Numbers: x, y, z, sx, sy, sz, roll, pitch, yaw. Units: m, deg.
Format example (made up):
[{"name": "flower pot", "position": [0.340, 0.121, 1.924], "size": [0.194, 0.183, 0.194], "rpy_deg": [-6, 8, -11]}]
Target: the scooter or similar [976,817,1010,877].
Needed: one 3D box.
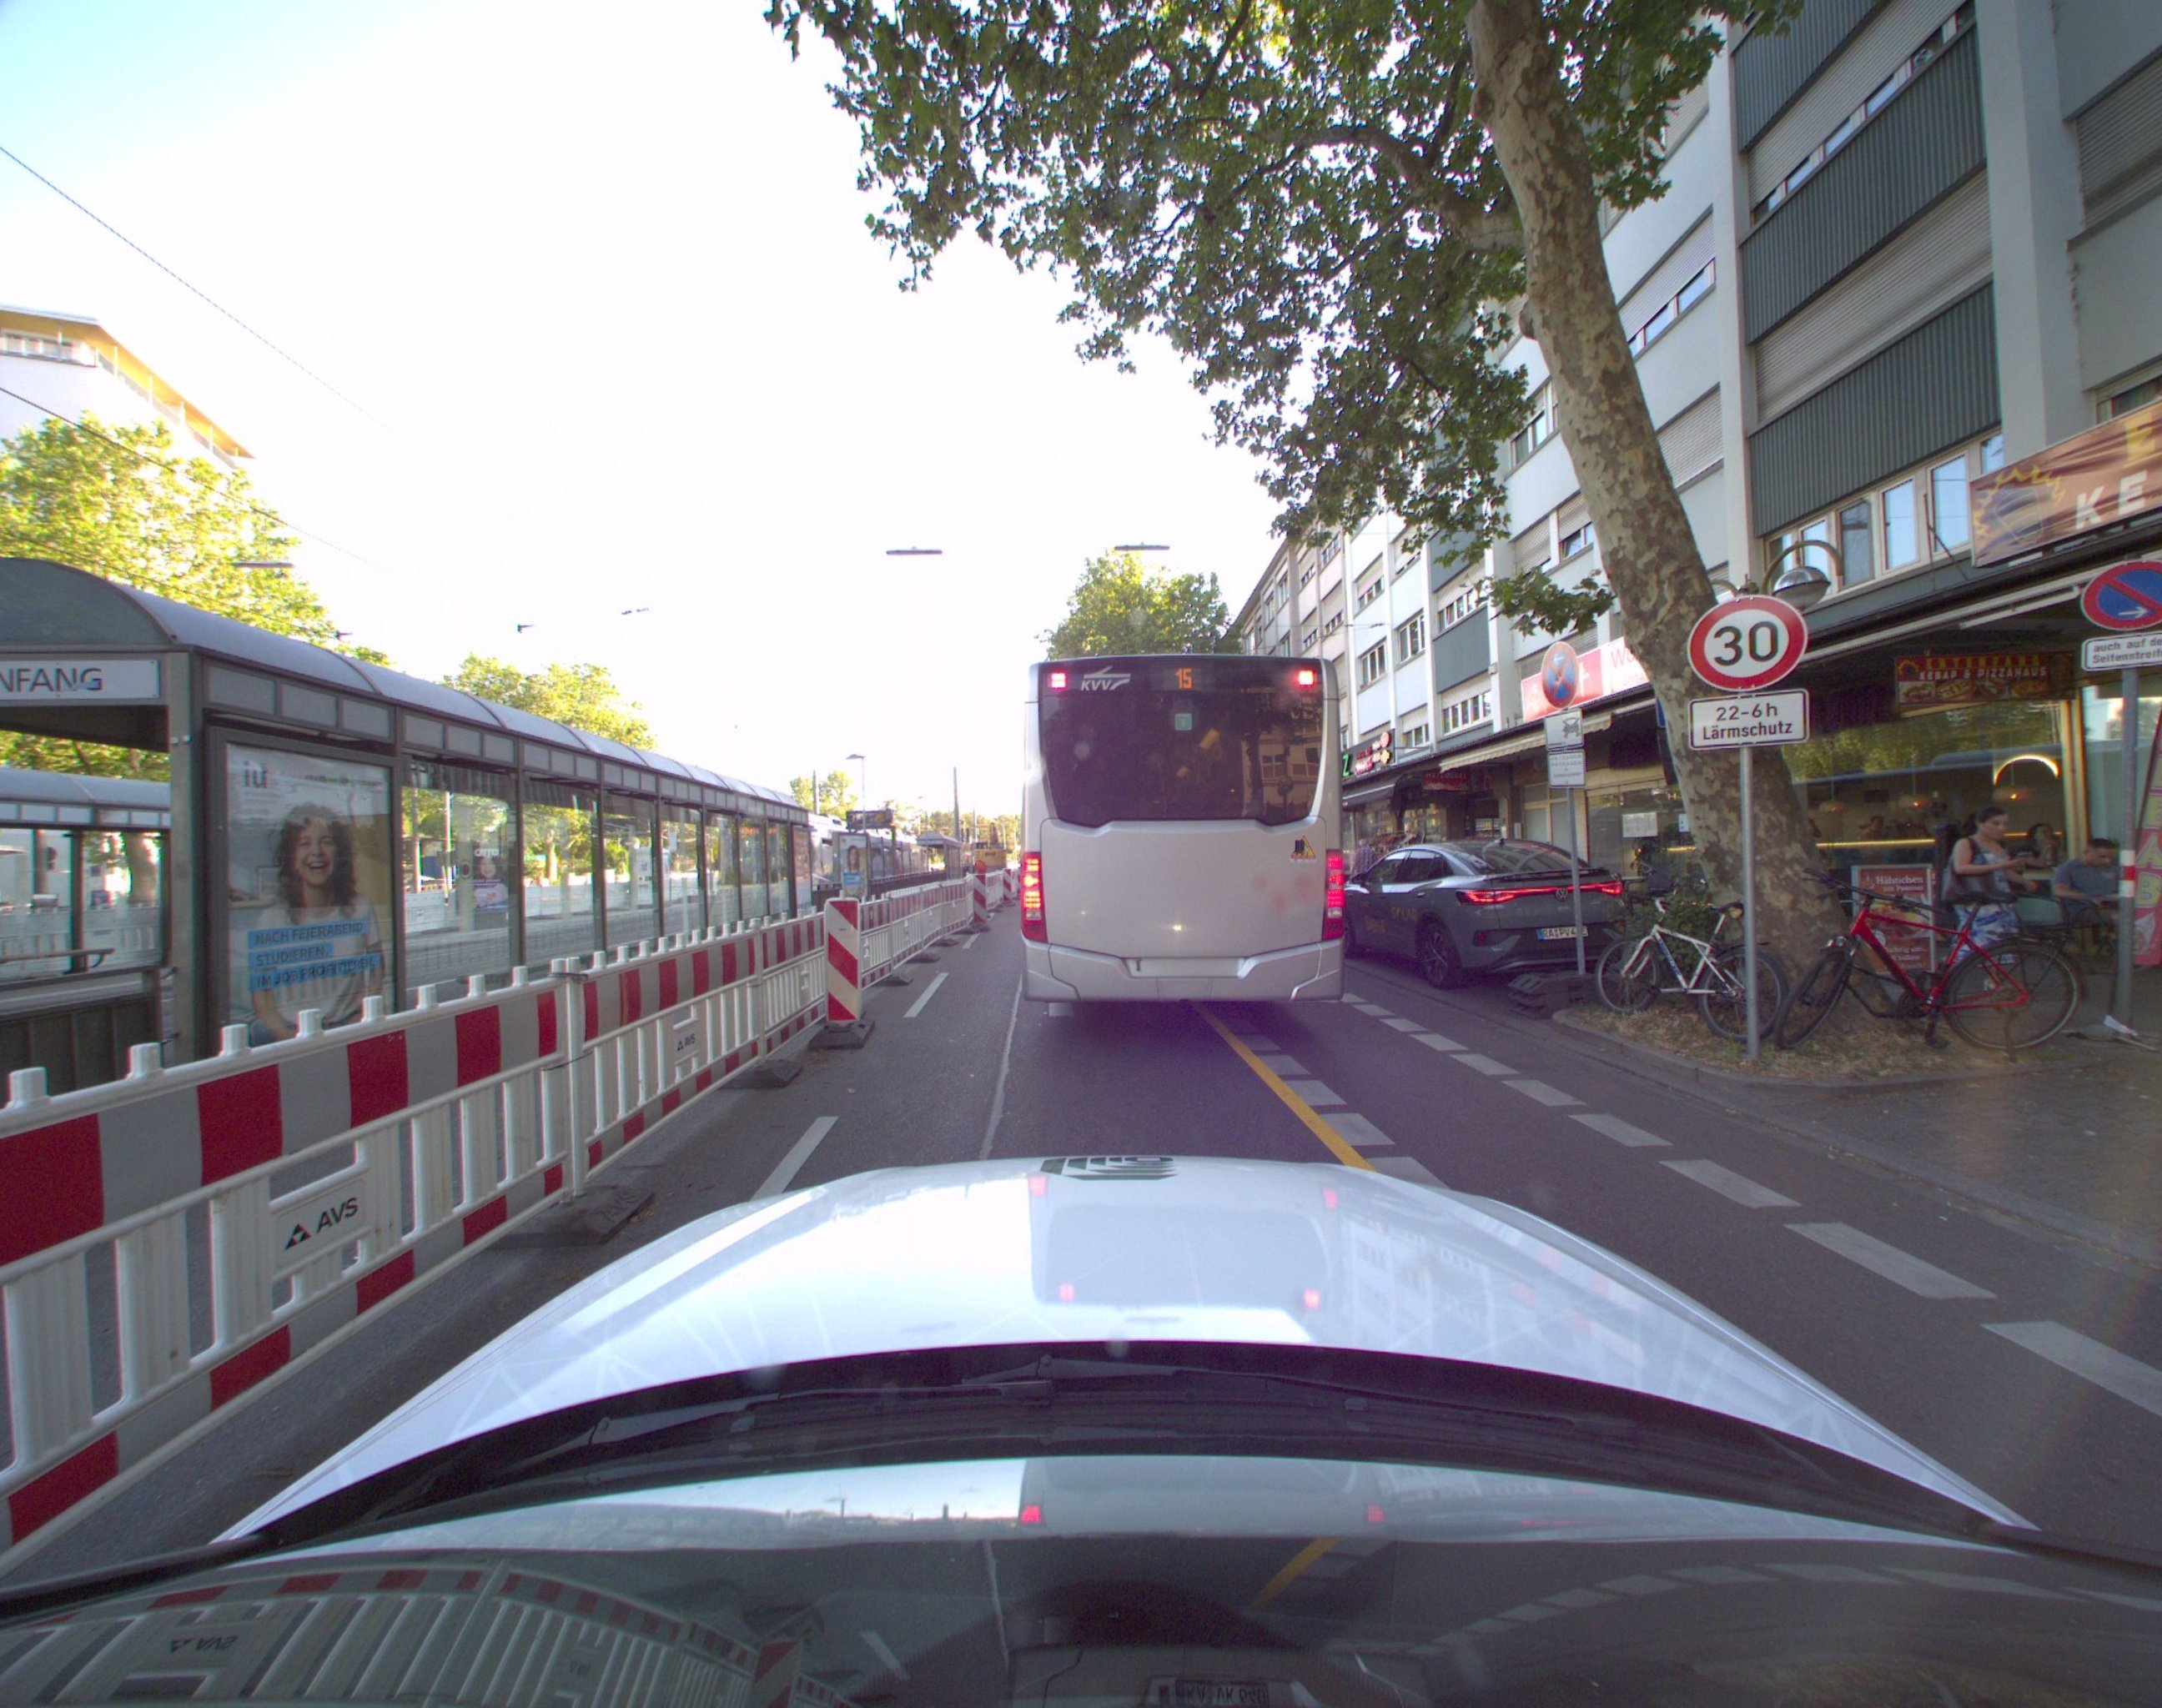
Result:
[{"name": "scooter or similar", "position": [-7.021, -0.522, 65.174], "size": [2.465, 4.471, 5.961], "rpy_deg": [-2, 0, -5]}]

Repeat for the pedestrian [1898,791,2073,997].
[{"name": "pedestrian", "position": [7.717, 0.322, 6.989], "size": [0.580, 1.646, 0.796], "rpy_deg": [-2, 0, 0]}]

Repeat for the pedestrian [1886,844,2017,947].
[{"name": "pedestrian", "position": [9.855, 0.451, 9.234], "size": [0.643, 1.081, 0.945], "rpy_deg": [-2, -1, -39]}]

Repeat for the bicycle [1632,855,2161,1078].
[{"name": "bicycle", "position": [5.056, 0.721, 5.221], "size": [2.370, 1.155, 0.557], "rpy_deg": [-7, -2, 14]}]

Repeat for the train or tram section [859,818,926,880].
[{"name": "train or tram section", "position": [-11.780, -0.225, 52.021], "size": [2.683, 3.533, 11.558], "rpy_deg": [0, -1, -6]}]

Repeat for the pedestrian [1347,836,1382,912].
[{"name": "pedestrian", "position": [6.487, 0.451, 18.662], "size": [0.658, 1.666, 0.603], "rpy_deg": [-4, -1, 18]}]

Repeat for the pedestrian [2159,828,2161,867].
[{"name": "pedestrian", "position": [9.523, 0.386, 6.609], "size": [0.556, 1.245, 0.691], "rpy_deg": [-3, 0, 3]}]

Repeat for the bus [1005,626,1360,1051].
[{"name": "bus", "position": [0.872, -0.091, 10.009], "size": [2.601, 3.126, 7.996], "rpy_deg": [0, 0, 2]}]

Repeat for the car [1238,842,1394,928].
[{"name": "car", "position": [5.105, 0.609, 18.375], "size": [1.989, 1.582, 4.364], "rpy_deg": [-4, 0, -3]}]

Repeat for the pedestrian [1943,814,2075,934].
[{"name": "pedestrian", "position": [11.015, 0.228, 9.677], "size": [0.836, 1.333, 0.963], "rpy_deg": [-2, -1, -39]}]

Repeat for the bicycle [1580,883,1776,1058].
[{"name": "bicycle", "position": [4.571, 0.834, 6.362], "size": [0.550, 1.155, 1.446], "rpy_deg": [-2, -1, 6]}]

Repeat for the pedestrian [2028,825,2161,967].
[{"name": "pedestrian", "position": [9.572, 0.374, 7.625], "size": [0.555, 1.245, 0.692], "rpy_deg": [-4, 0, 8]}]

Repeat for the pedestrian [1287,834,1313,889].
[{"name": "pedestrian", "position": [8.178, 0.265, 30.423], "size": [0.683, 2.014, 0.786], "rpy_deg": [-2, -1, 1]}]

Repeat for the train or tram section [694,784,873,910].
[{"name": "train or tram section", "position": [-9.902, -0.163, 28.885], "size": [2.681, 3.534, 11.756], "rpy_deg": [0, -1, -3]}]

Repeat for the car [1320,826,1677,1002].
[{"name": "car", "position": [4.742, 0.579, 10.163], "size": [1.989, 1.582, 4.364], "rpy_deg": [-4, 0, -3]}]

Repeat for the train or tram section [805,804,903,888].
[{"name": "train or tram section", "position": [-10.912, -0.298, 40.464], "size": [2.682, 3.558, 11.559], "rpy_deg": [0, -1, -5]}]
